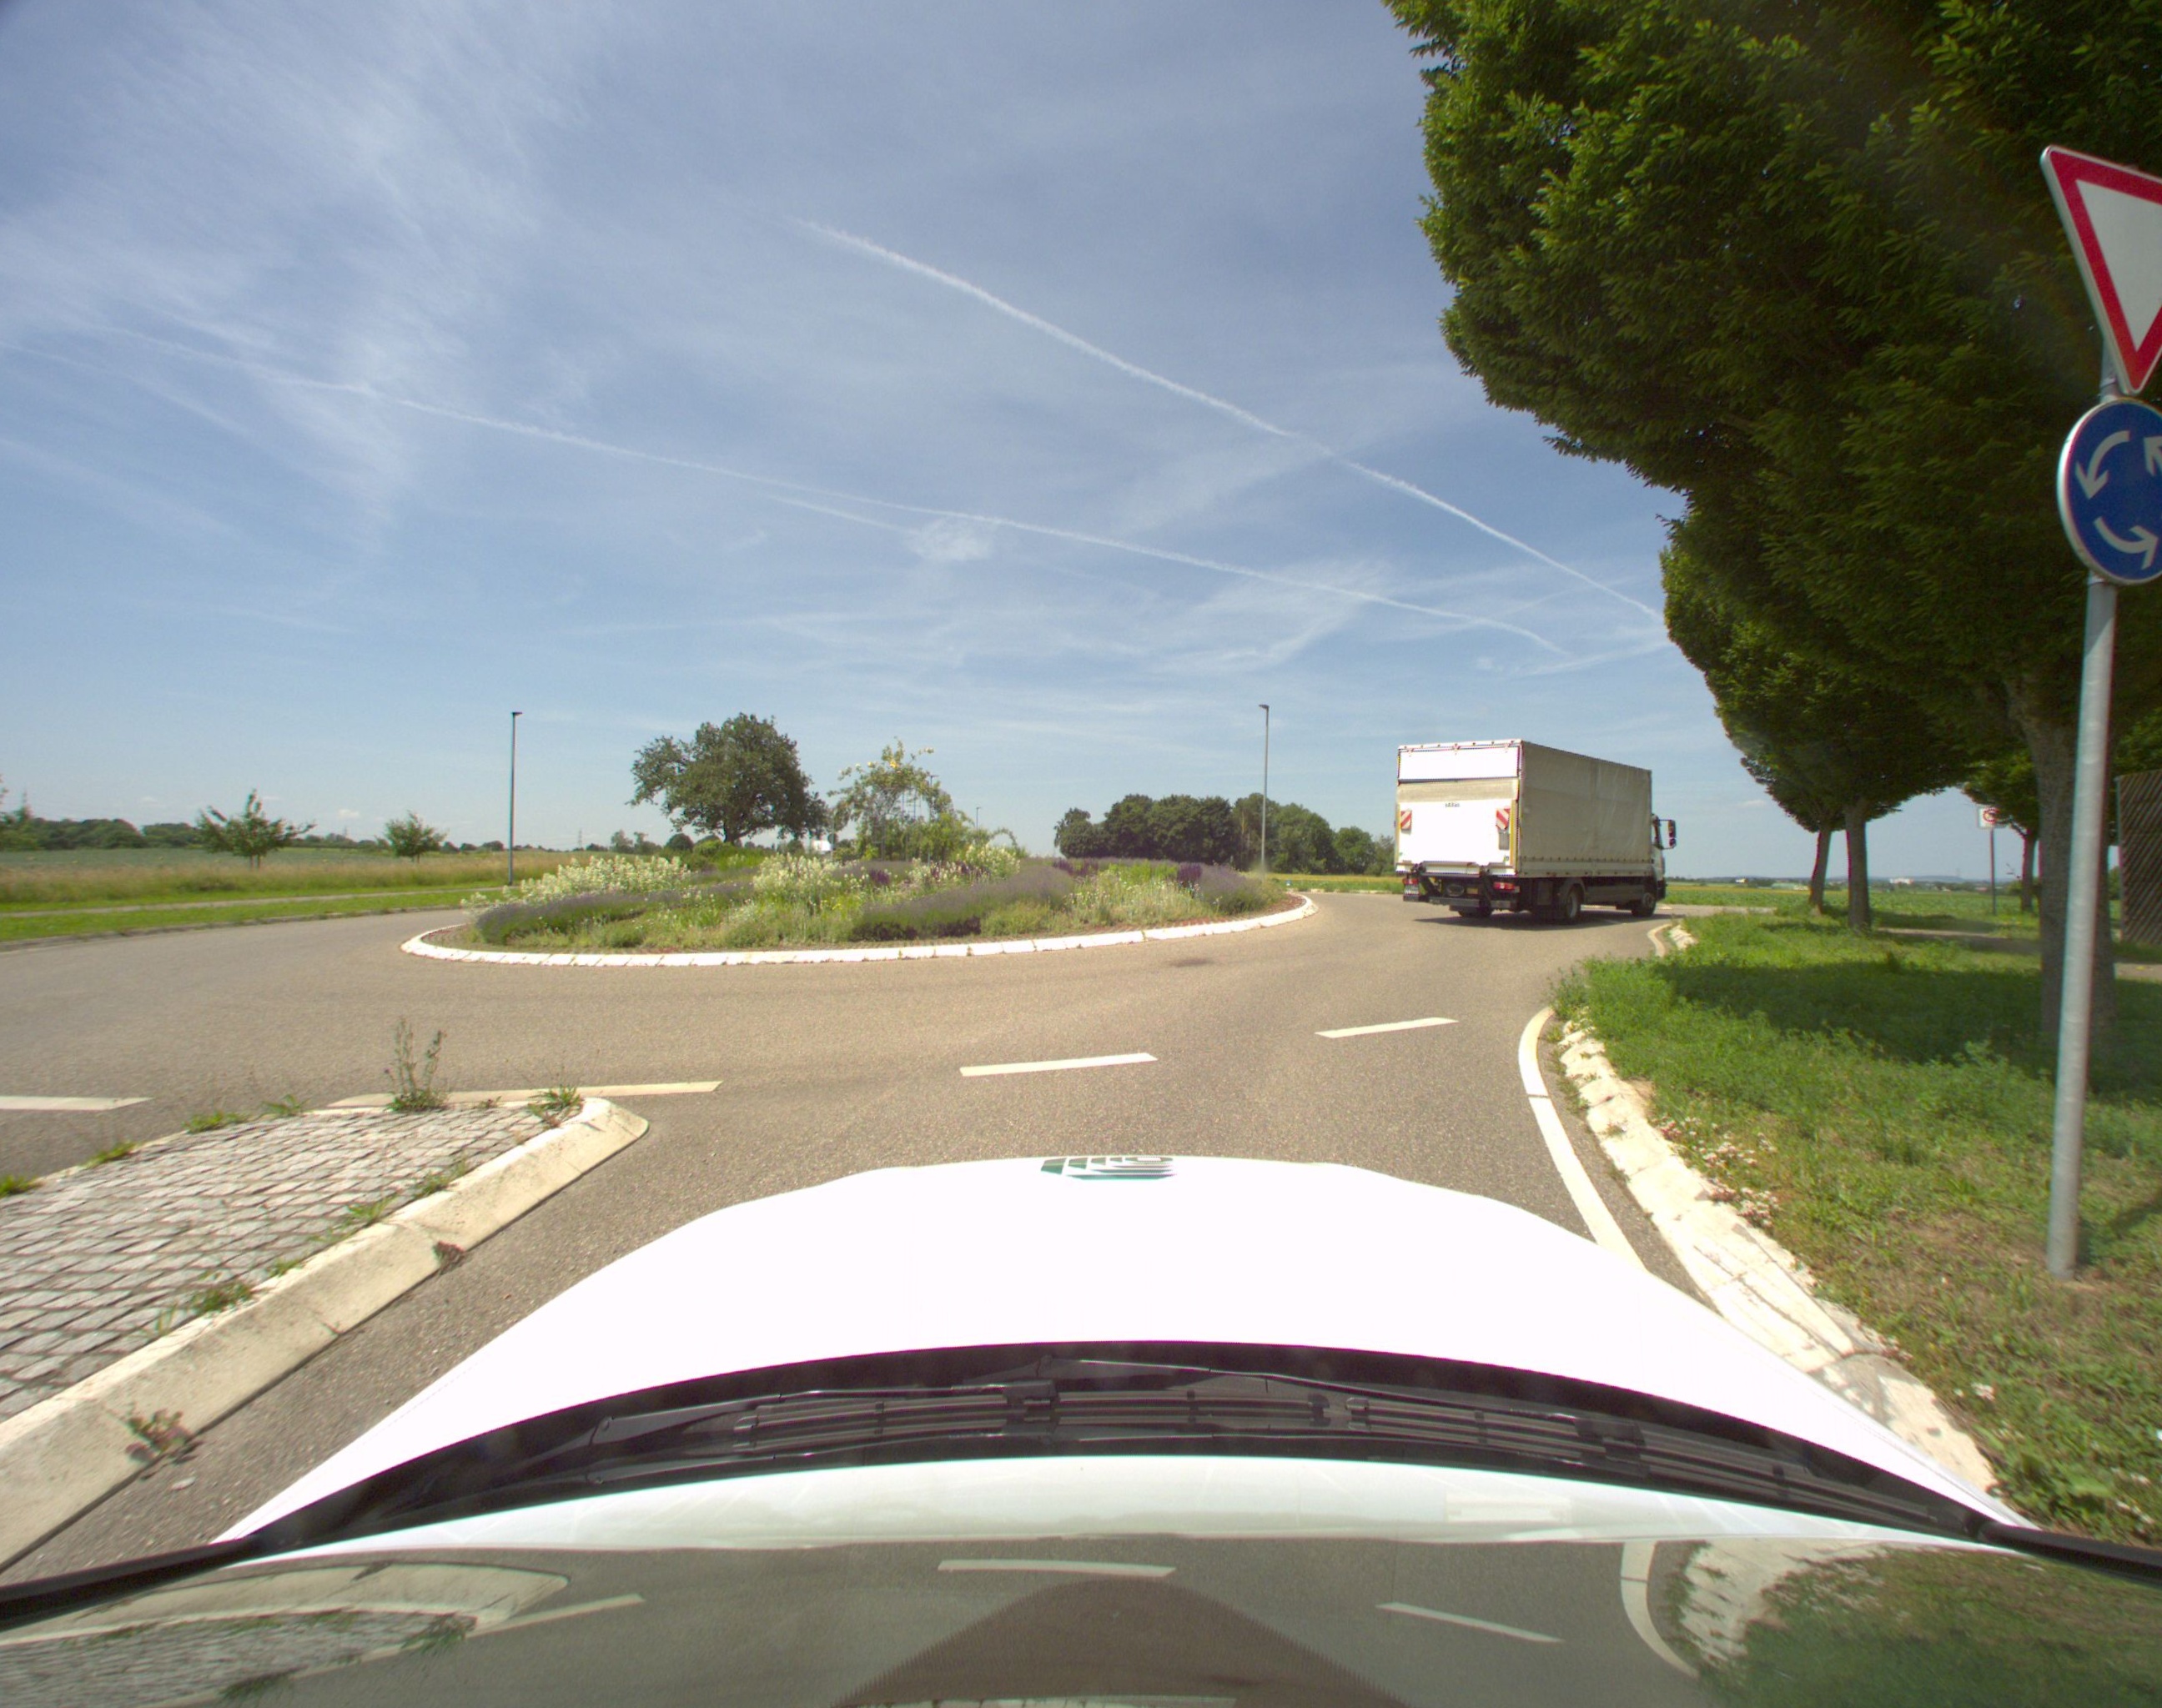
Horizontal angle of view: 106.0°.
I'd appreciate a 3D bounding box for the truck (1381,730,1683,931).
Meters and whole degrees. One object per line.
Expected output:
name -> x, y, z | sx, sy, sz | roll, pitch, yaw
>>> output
truck -> 10.834, -0.492, 18.952 | 9.428, 3.670, 2.744 | 0, 2, -39
